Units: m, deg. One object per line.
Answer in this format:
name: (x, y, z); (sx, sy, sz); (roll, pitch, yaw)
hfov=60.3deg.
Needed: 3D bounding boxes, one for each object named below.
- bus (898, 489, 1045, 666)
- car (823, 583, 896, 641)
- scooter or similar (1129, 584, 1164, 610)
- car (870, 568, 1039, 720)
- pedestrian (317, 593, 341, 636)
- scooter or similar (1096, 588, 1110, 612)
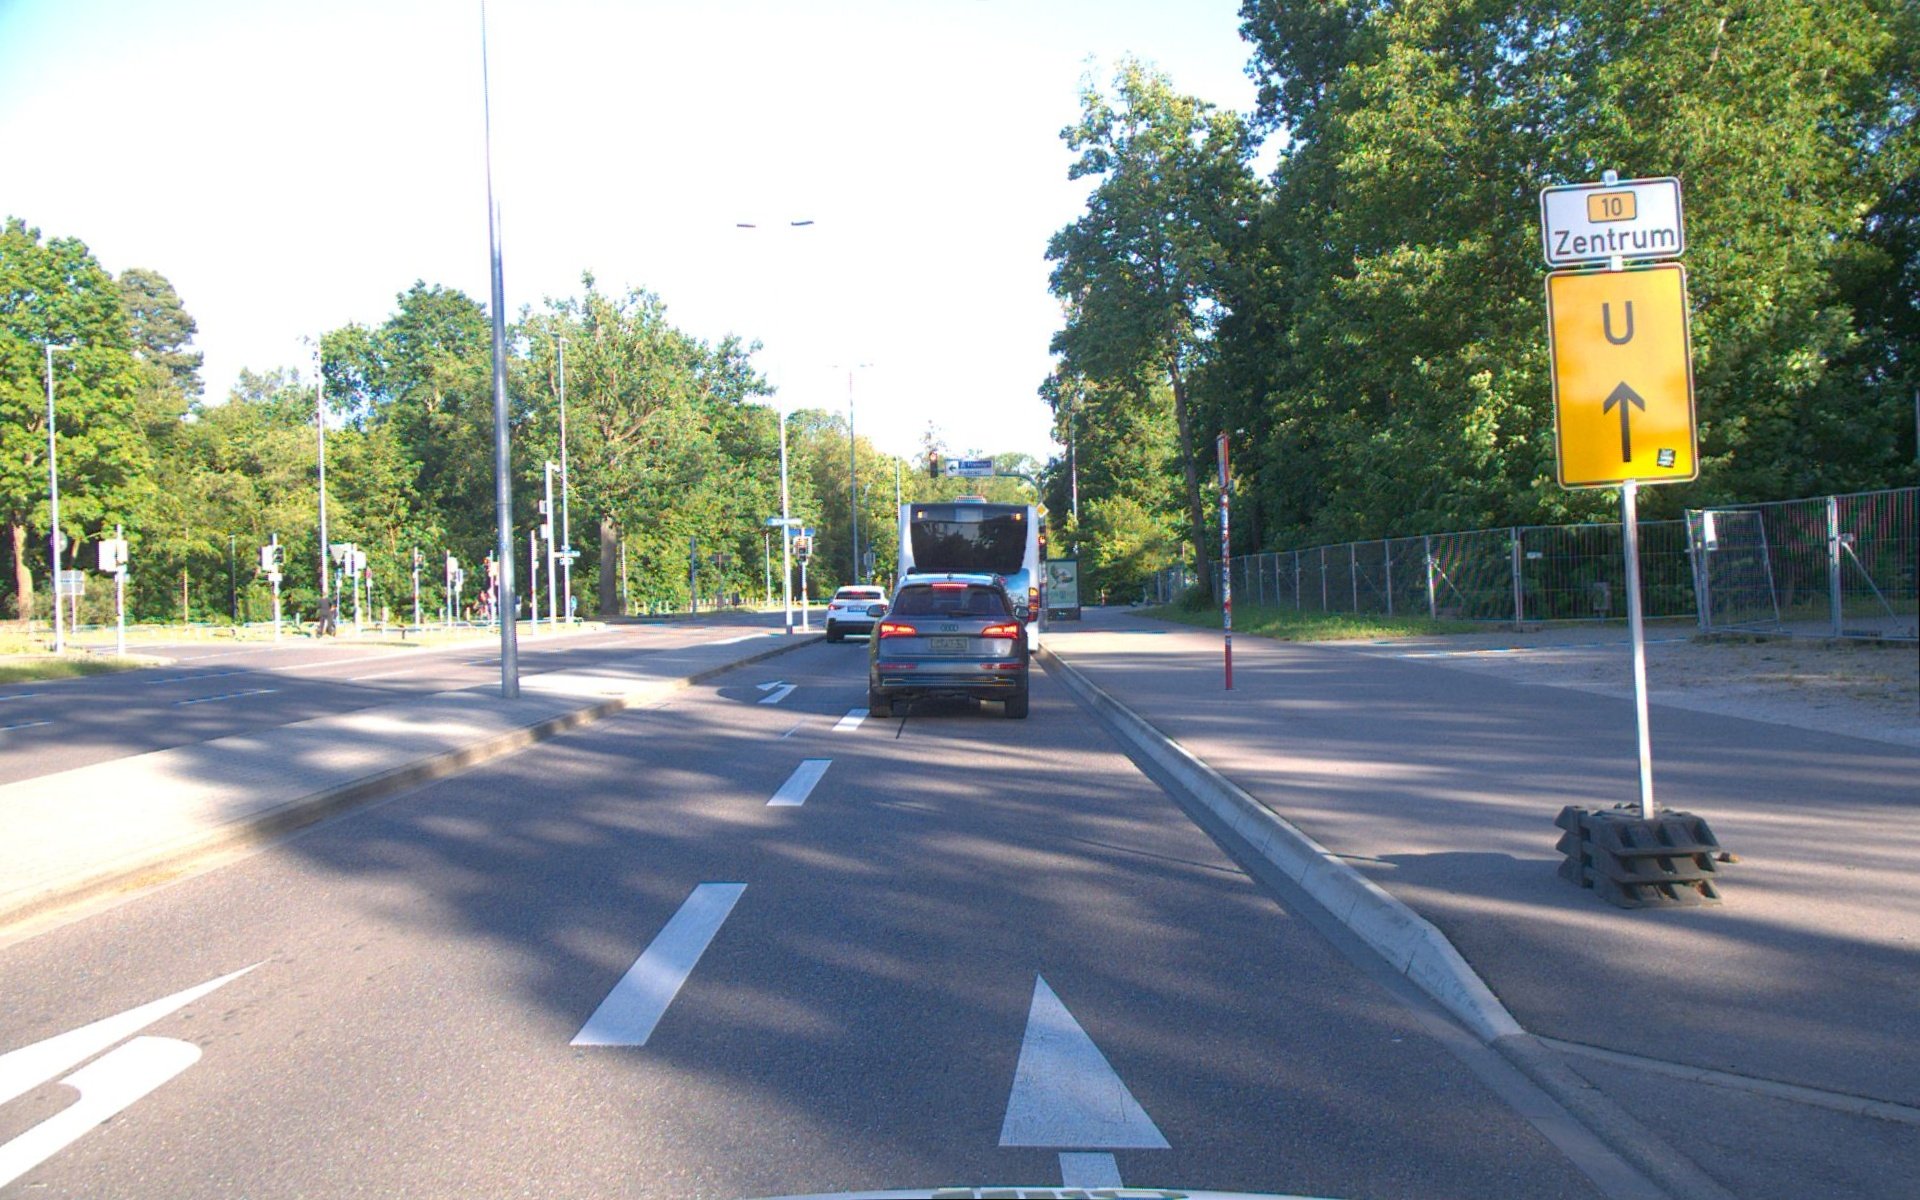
bus: (0.213, -0.384, 33.199); (2.541, 3.041, 9.326); (0, 0, 0)
car: (-2.787, 0.304, 46.589); (1.799, 1.545, 4.000); (-1, 0, 0)
scooter or similar: (10.975, -0.193, 97.230); (1.990, 1.469, 0.601); (-2, 0, -25)
car: (-0.054, 0.462, 20.155); (1.859, 1.660, 4.000); (0, 0, 0)
pedestrian: (-23.417, 0.537, 61.355); (0.643, 1.587, 0.531); (-2, 0, -42)
scooter or similar: (8.616, -0.005, 99.722); (0.498, 1.469, 2.020); (-2, 0, -5)
